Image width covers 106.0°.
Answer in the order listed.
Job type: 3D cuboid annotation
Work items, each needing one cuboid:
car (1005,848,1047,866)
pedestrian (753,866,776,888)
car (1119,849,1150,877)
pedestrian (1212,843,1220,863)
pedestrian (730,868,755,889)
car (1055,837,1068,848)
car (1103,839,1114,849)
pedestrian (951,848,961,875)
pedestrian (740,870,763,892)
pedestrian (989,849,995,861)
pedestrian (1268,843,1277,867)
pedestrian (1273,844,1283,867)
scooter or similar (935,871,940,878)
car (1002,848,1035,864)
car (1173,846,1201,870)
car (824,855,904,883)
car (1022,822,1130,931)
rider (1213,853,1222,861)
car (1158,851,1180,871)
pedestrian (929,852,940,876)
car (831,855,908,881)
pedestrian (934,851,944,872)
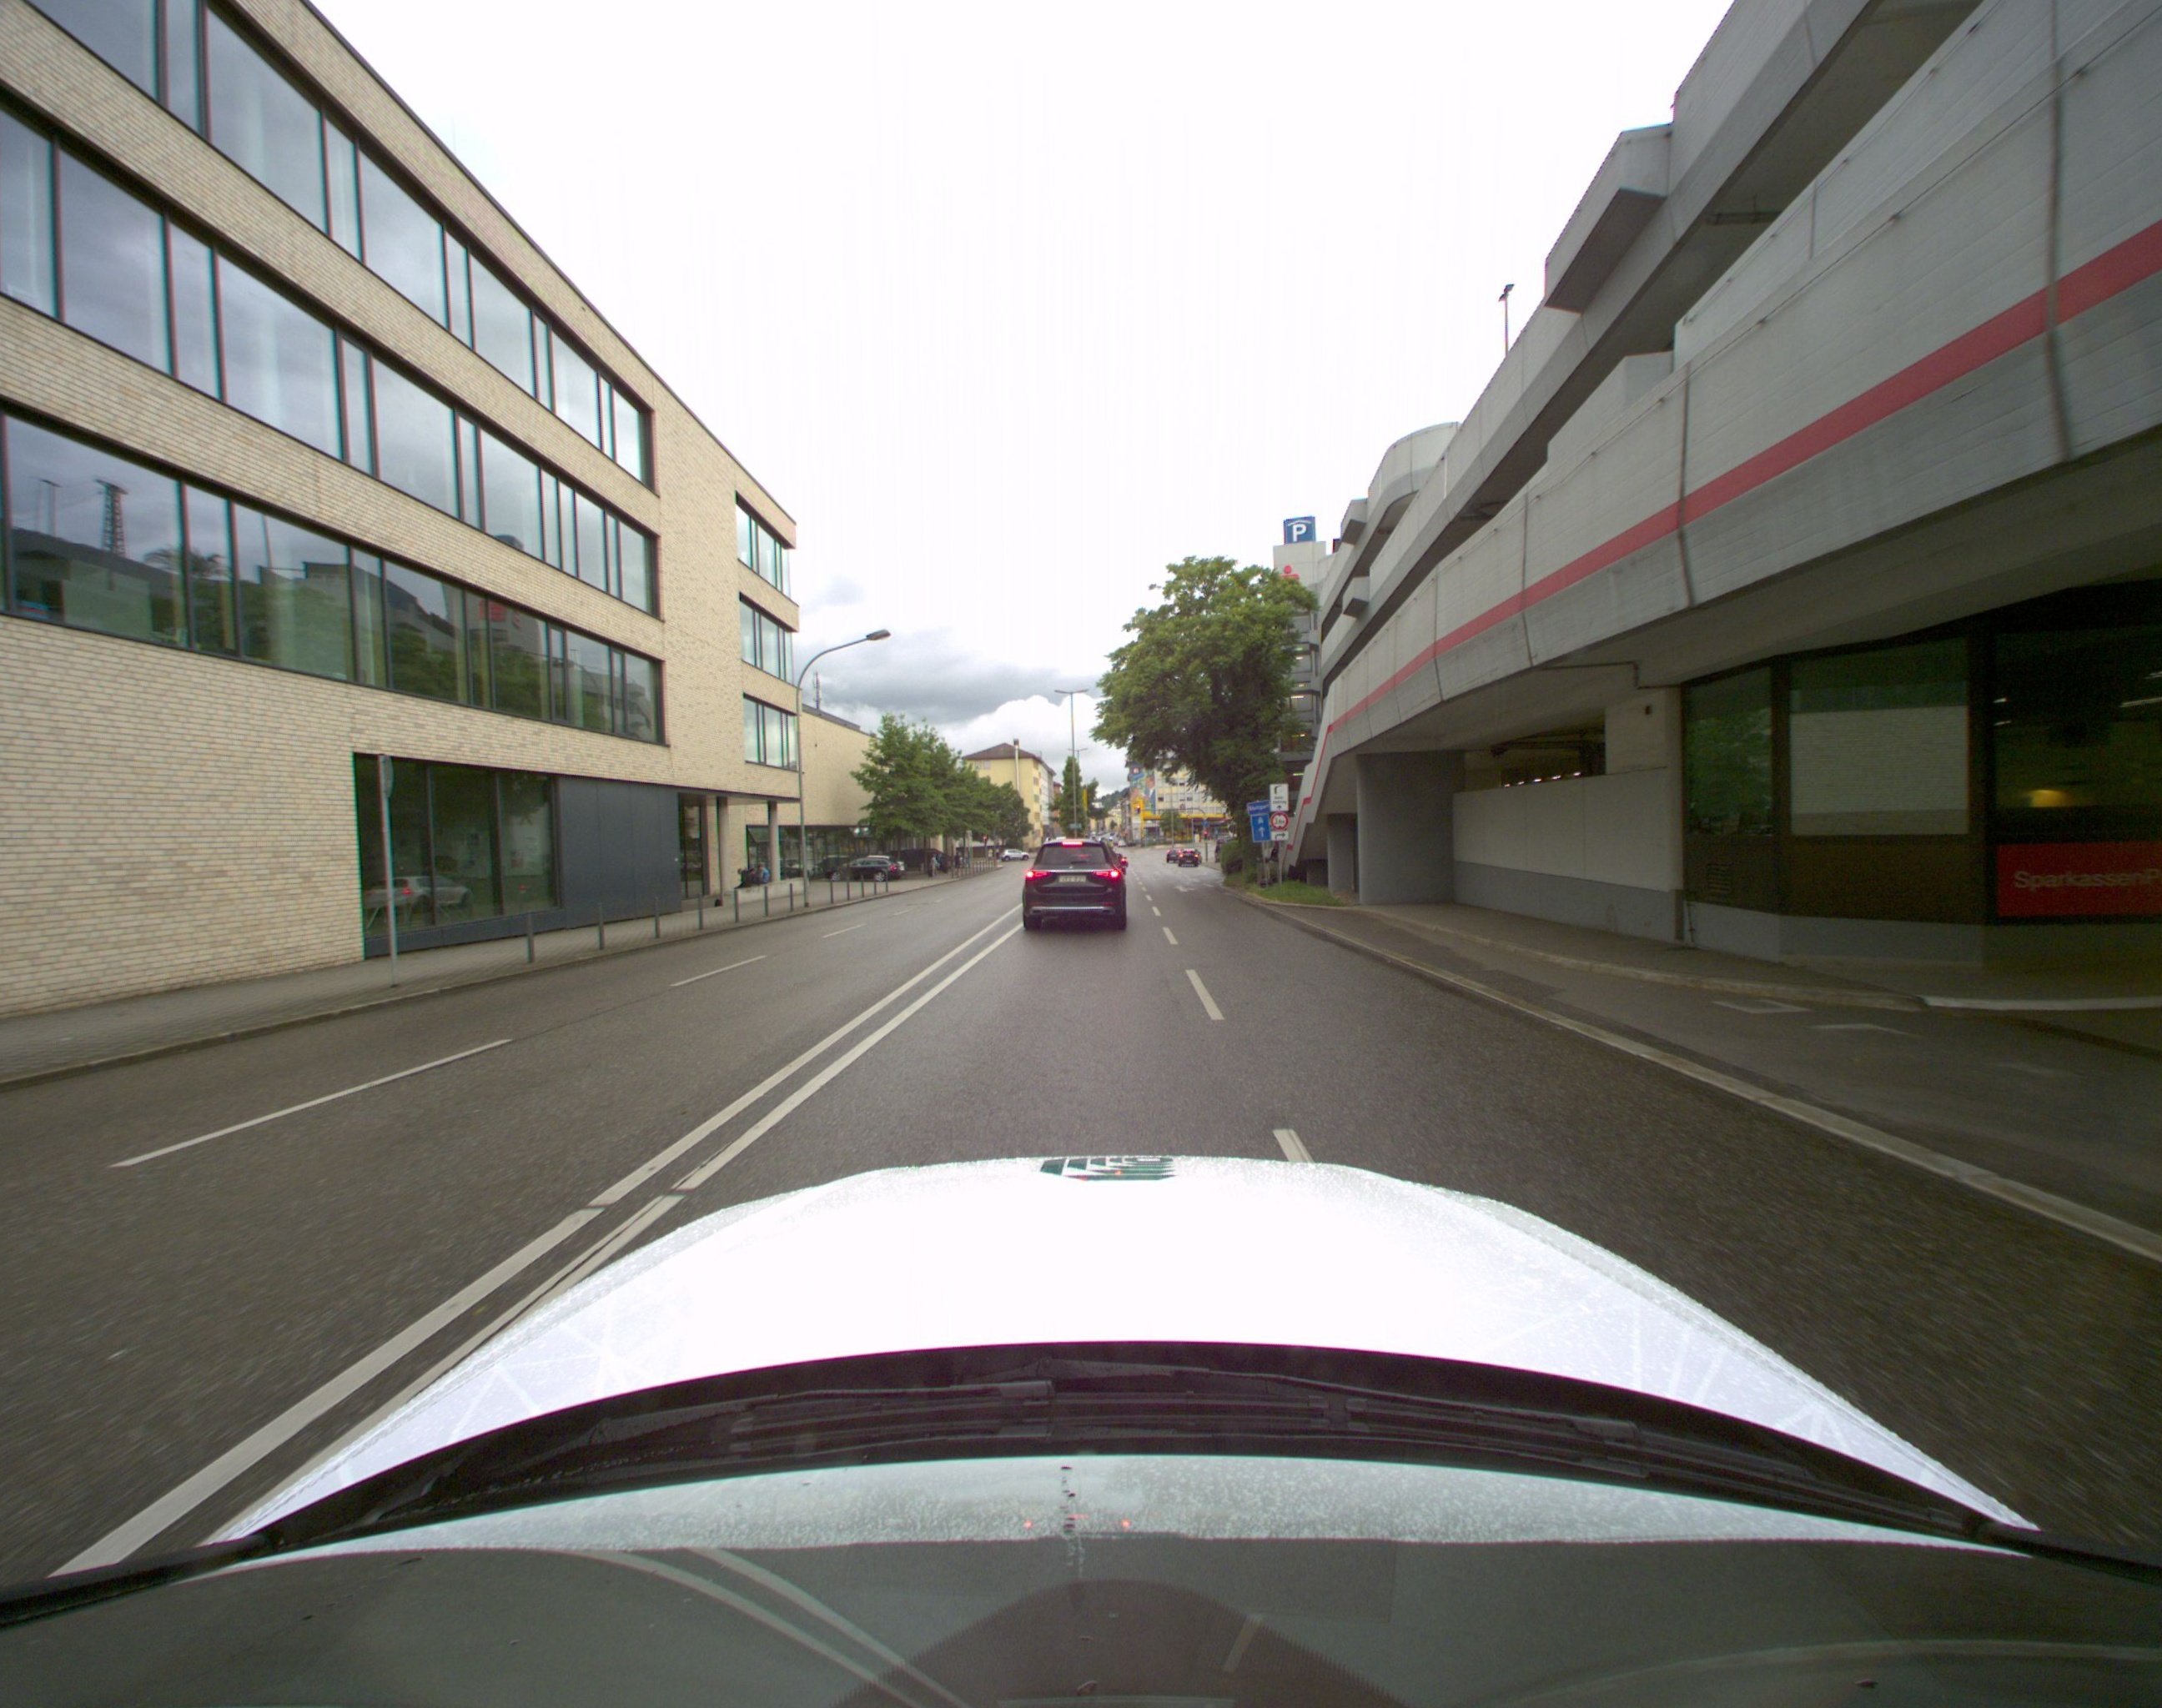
[{"bbox_3d":[-6.551,0.371,96.605,4.798,2.013,1.996,-1,1,-6],"label":"car"},{"bbox_3d":[-12.894,0.921,33.181,0.678,0.886,0.524,0,-1,2],"label":"pedestrian"},{"bbox_3d":[3.326,0.550,51.012,1.698,1.716,3.442,0,0,-1],"label":"car"},{"bbox_3d":[12.815,-0.082,77.158,0.657,1.917,0.732,0,-1,16],"label":"pedestrian"},{"bbox_3d":[-12.945,0.940,31.124,0.595,0.786,0.760,0,-1,2],"label":"pedestrian"},{"bbox_3d":[-3.310,-1.923,136.808,1.987,1.875,5.142,0,0,1],"label":"car"},{"bbox_3d":[5.269,-1.895,155.314,1.986,2.013,4.001,0,1,1],"label":"car"},{"bbox_3d":[-9.506,0.555,61.840,0.586,2.014,0.749,0,-1,0],"label":"pedestrian"},{"bbox_3d":[-12.919,1.048,31.959,0.584,0.845,0.728,-1,-1,2],"label":"pedestrian"},{"bbox_3d":[-11.292,0.158,103.060,0.708,1.462,0.598,0,-1,1],"label":"pedestrian"},{"bbox_3d":[12.144,0.059,51.690,0.548,1.532,0.489,0,-1,8],"label":"pedestrian"},{"bbox_3d":[12.469,0.092,51.646,0.578,1.501,0.505,0,-1,8],"label":"pedestrian"},{"bbox_3d":[-10.300,1.494,58.442,0.279,0.501,0.616,0,-1,2],"label":"scooter or similar"},{"bbox_3d":[-7.764,0.244,101.209,3.987,1.942,1.993,-1,0,-10],"label":"car"},{"bbox_3d":[9.292,0.367,71.761,1.987,2.014,3.999,-1,-2,0],"label":"car"},{"bbox_3d":[-13.337,0.910,50.286,4.460,1.587,1.997,-1,0,-4],"label":"car"},{"bbox_3d":[-0.047,0.432,17.047,1.986,2.014,4.001,0,0,1],"label":"car"},{"bbox_3d":[12.912,0.325,77.078,0.624,0.740,0.700,0,-1,43],"label":"rider"},{"bbox_3d":[9.034,0.748,83.876,1.987,2.014,4.000,0,0,1],"label":"car"},{"bbox_3d":[-10.442,0.709,58.056,0.673,1.697,0.479,0,-1,1],"label":"pedestrian"},{"bbox_3d":[-13.571,0.887,52.469,4.406,1.573,1.998,0,2,-3],"label":"car"},{"bbox_3d":[-11.257,0.597,64.642,0.686,1.725,0.754,0,-2,1],"label":"pedestrian"}]
